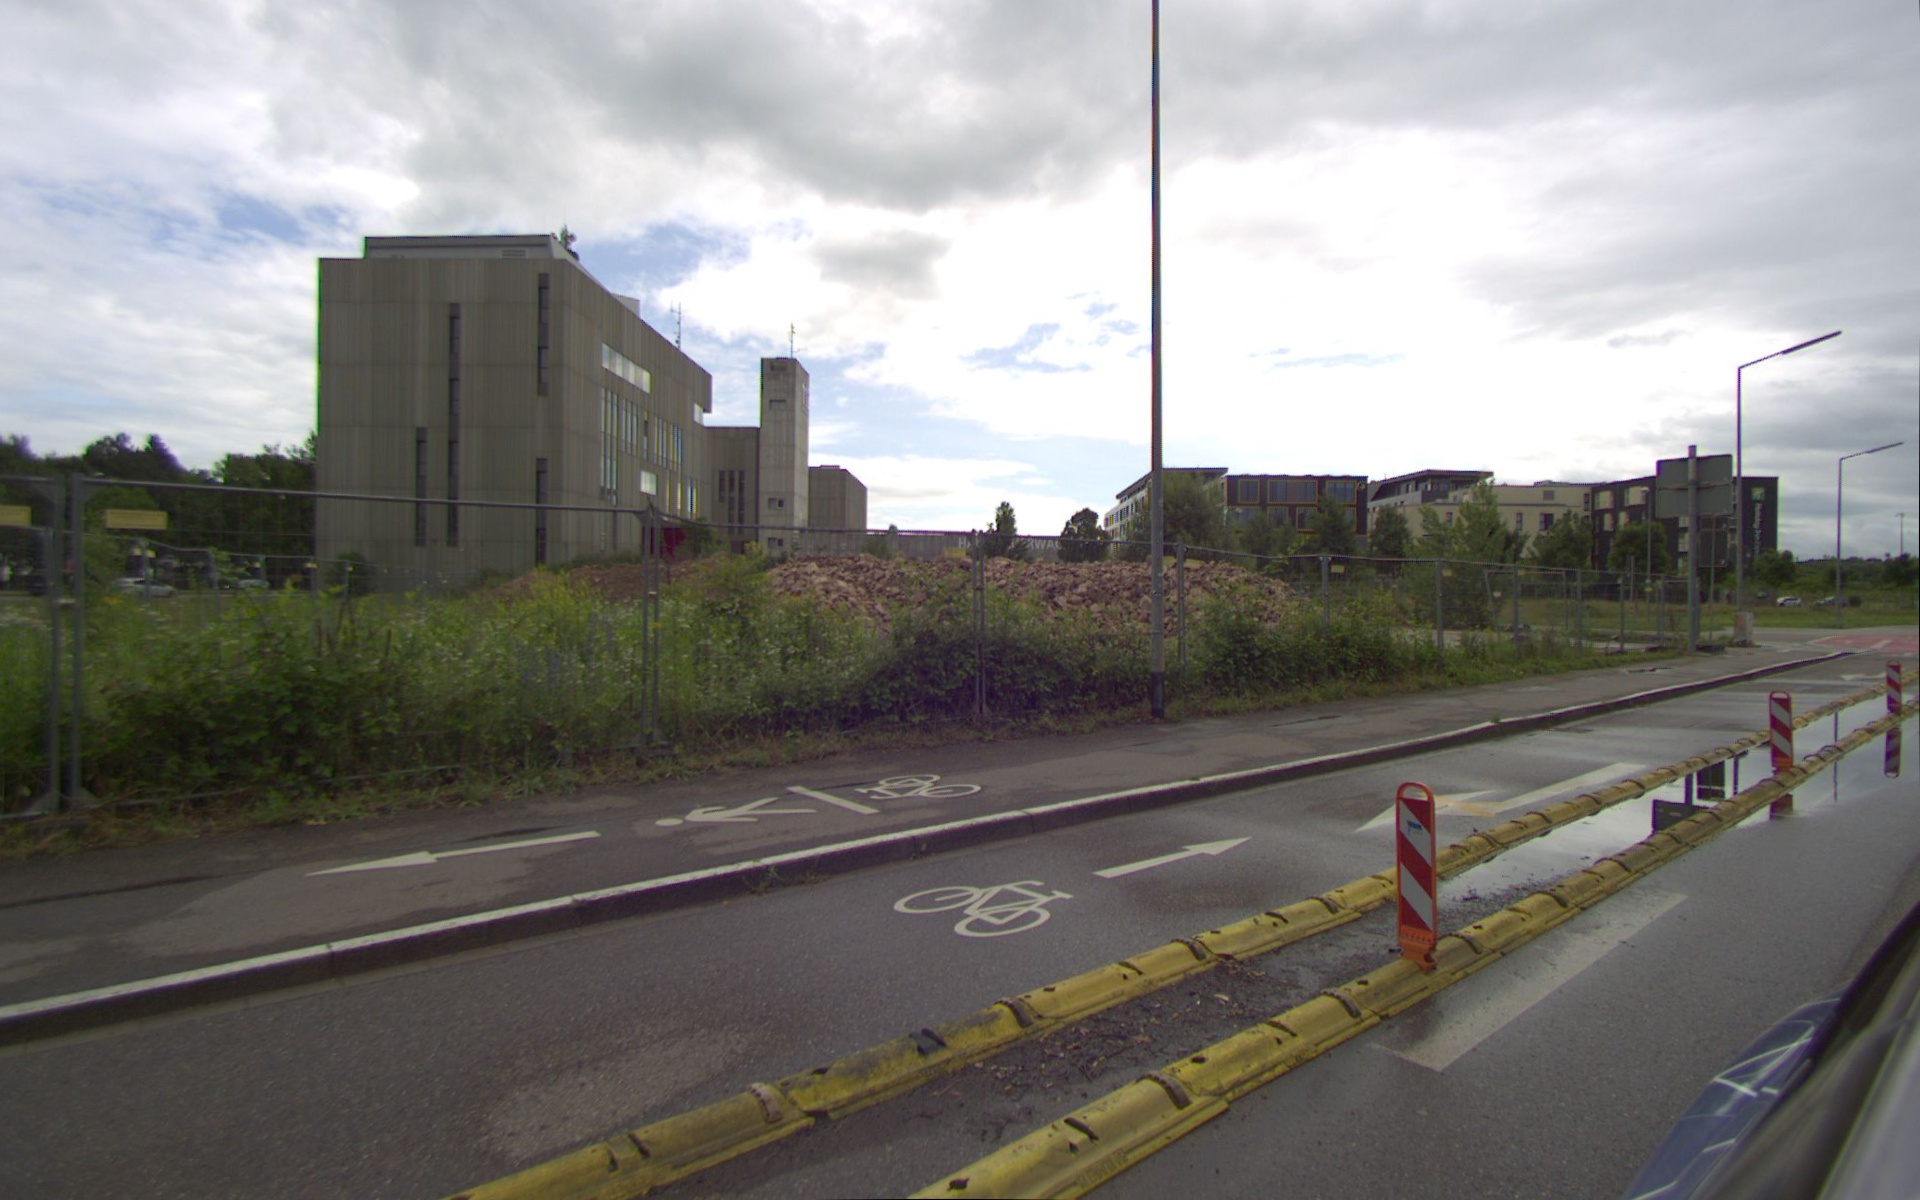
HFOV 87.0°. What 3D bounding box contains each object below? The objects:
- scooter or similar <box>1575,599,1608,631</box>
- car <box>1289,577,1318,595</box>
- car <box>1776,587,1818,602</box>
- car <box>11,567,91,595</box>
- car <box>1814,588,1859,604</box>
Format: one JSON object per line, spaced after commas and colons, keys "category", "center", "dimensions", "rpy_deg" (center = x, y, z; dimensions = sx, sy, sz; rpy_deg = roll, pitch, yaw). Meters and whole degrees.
{"category": "scooter or similar", "center": [24.781, 0.588, 39.749], "dimensions": [0.437, 1.200, 1.327], "rpy_deg": [1, 1, 0]}
{"category": "car", "center": [39.645, -1.657, 116.869], "dimensions": [1.961, 2.039, 4.002], "rpy_deg": [1, 1, -1]}
{"category": "car", "center": [112.250, -0.746, 135.735], "dimensions": [3.925, 2.039, 2.000], "rpy_deg": [1, 1, 1]}
{"category": "car", "center": [-60.628, -1.260, 67.618], "dimensions": [1.827, 1.804, 4.001], "rpy_deg": [1, 1, -1]}
{"category": "car", "center": [111.413, -0.512, 128.720], "dimensions": [3.925, 2.039, 2.000], "rpy_deg": [1, 1, 1]}
